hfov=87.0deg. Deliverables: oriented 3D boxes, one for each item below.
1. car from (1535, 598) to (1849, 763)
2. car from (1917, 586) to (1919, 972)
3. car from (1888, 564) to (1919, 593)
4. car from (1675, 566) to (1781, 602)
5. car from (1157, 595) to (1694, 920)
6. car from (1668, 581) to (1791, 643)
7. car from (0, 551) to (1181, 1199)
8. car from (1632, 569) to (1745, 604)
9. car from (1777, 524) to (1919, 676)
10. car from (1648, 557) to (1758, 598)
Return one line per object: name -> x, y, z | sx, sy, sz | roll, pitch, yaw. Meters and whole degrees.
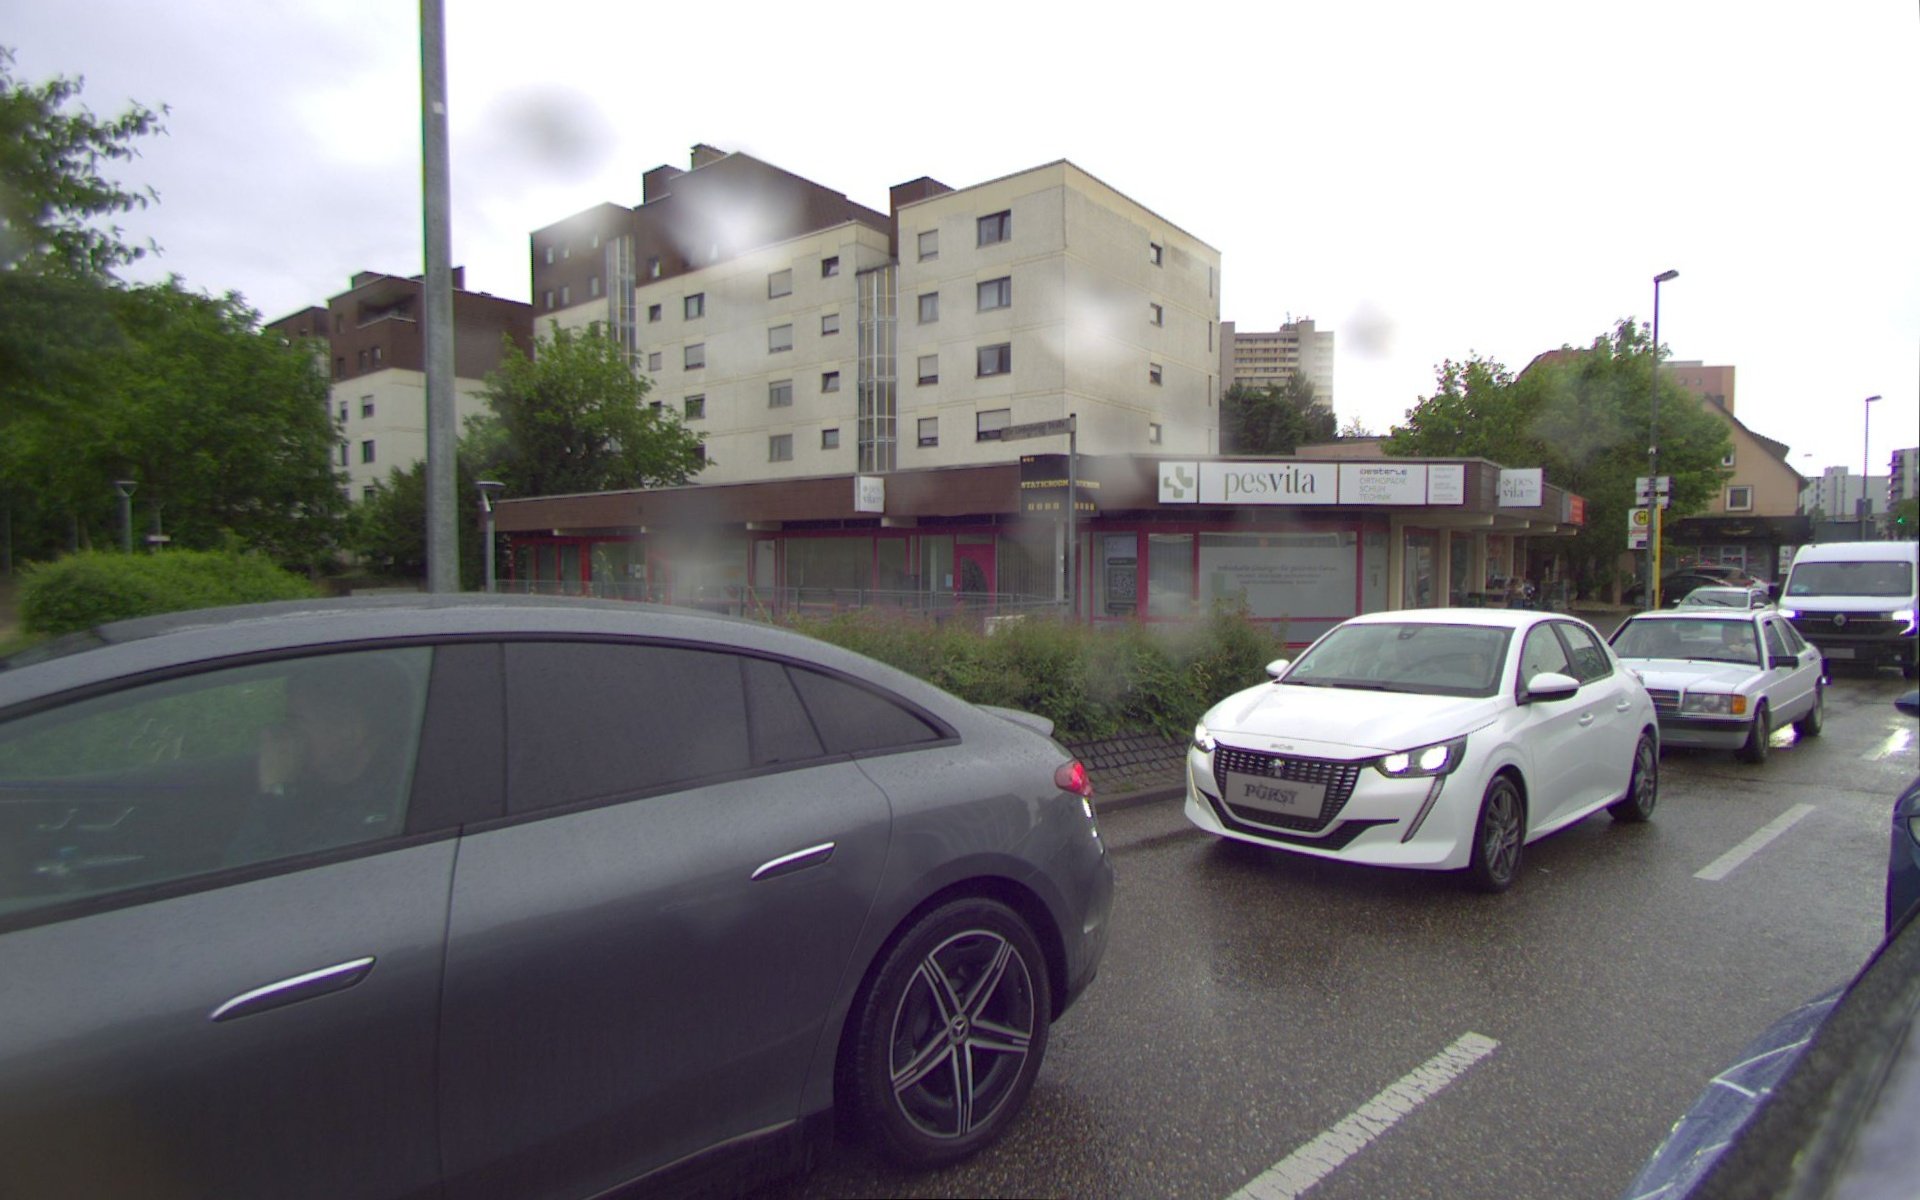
car -> 7.808, 0.682, 10.659 | 4.089, 1.362, 1.787 | -1, 1, -41
car -> 5.489, 0.643, 4.408 | 3.933, 1.406, 1.690 | -1, 1, -43
car -> 53.186, -1.213, 56.321 | 3.933, 1.588, 1.996 | -2, 1, -43
car -> 36.797, -0.771, 48.536 | 3.981, 1.614, 1.857 | 2, 0, 39
car -> 3.205, 0.707, 6.565 | 4.043, 1.433, 1.665 | -1, 1, -41
car -> 20.246, 0.265, 26.578 | 3.930, 1.509, 1.787 | -1, 1, -41
car -> -1.659, 0.680, 2.380 | 4.724, 1.485, 1.840 | 0, -1, -41
car -> 32.339, -0.625, 44.993 | 3.981, 1.445, 1.858 | 2, 2, 39
car -> 17.691, -0.077, 19.547 | 6.021, 2.549, 2.194 | -2, 2, -43
car -> 34.144, -1.065, 46.557 | 3.981, 1.801, 1.858 | 2, 2, 39
